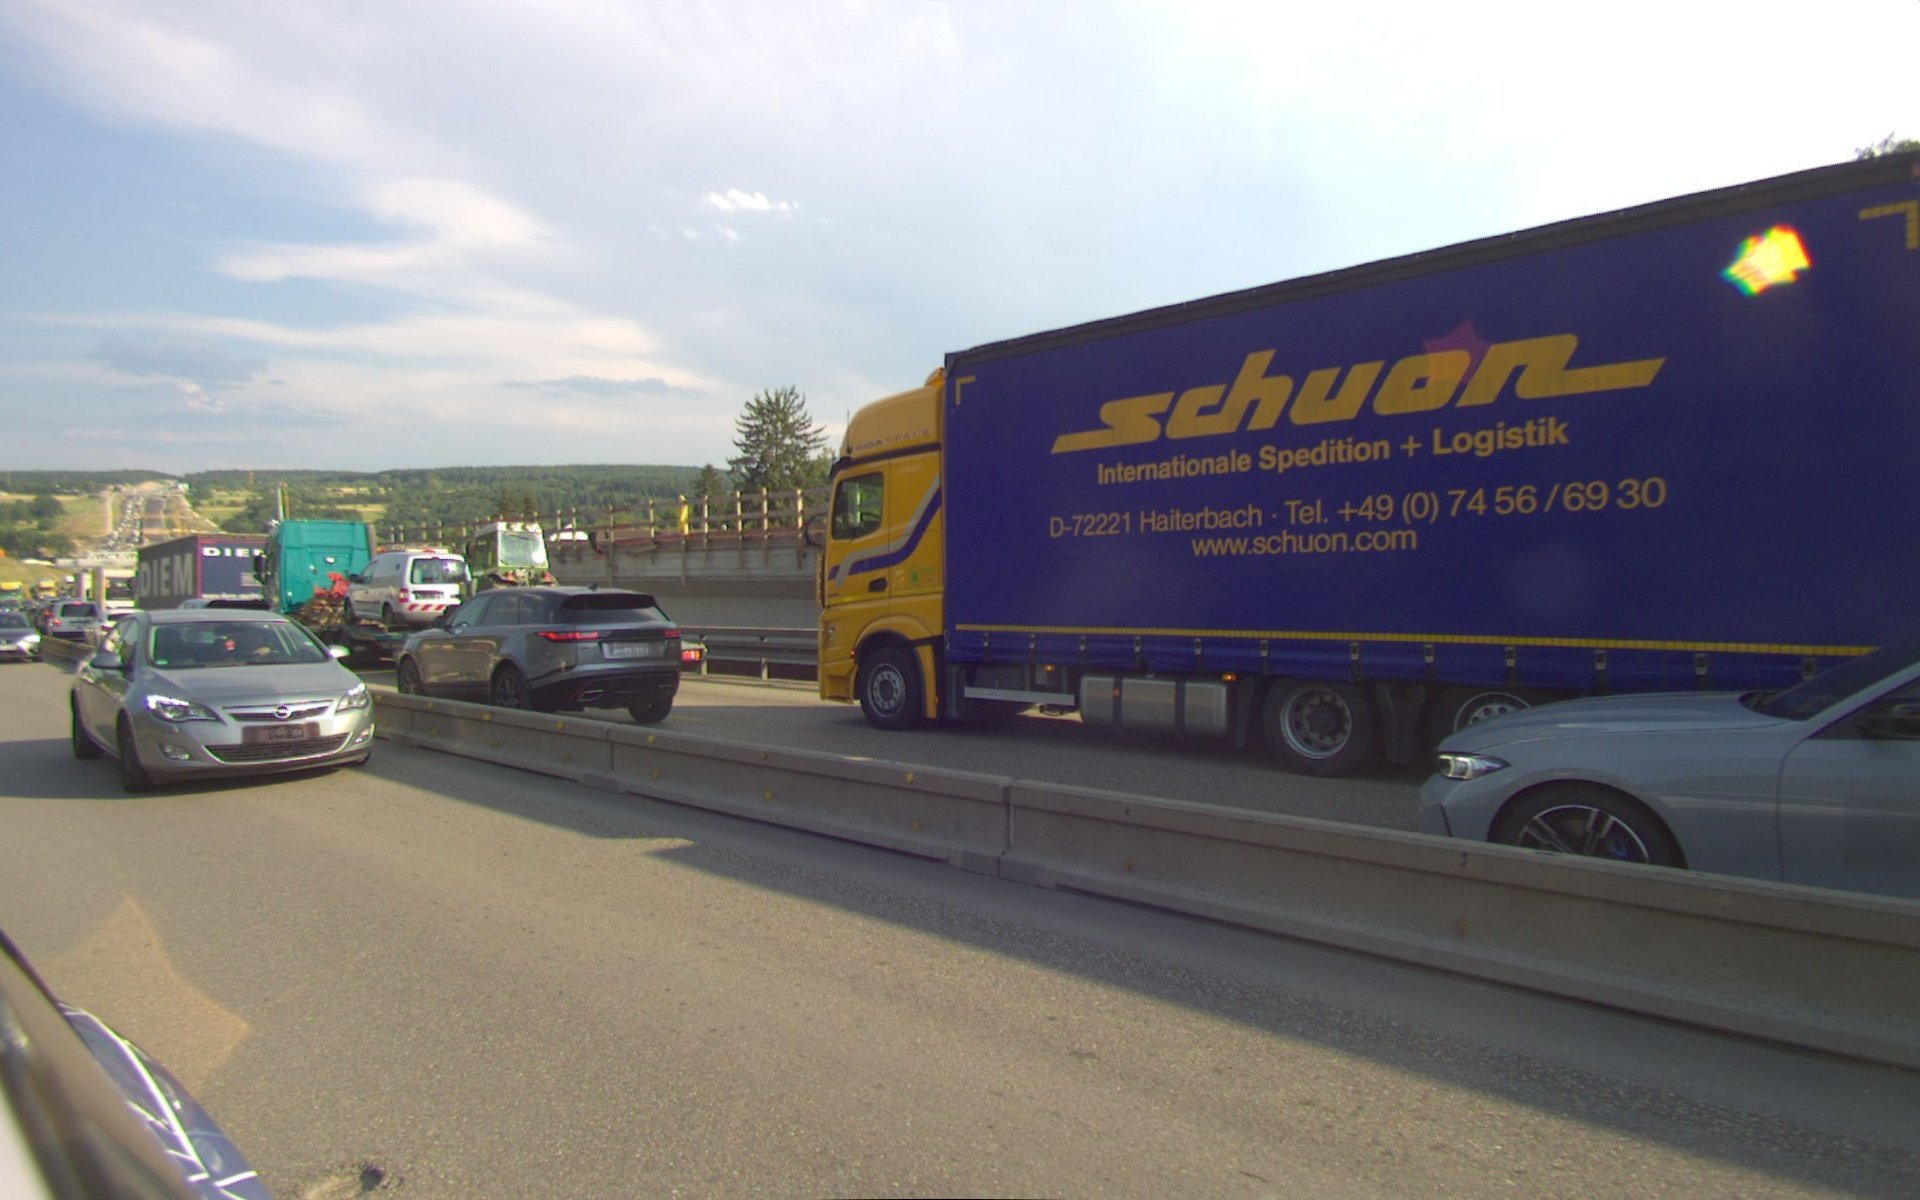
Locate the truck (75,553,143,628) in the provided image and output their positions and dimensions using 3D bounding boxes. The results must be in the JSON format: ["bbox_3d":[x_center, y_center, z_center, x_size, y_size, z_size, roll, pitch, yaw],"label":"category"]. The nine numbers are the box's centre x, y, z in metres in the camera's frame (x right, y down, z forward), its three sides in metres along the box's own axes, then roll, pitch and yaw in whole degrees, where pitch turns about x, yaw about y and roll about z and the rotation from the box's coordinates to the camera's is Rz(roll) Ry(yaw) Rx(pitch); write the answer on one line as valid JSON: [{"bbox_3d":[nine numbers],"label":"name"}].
[{"bbox_3d":[-54.043,-0.597,64.238,5.030,4.548,2.886,0,0,45],"label":"truck"}]

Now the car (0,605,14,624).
[{"bbox_3d":[-82.043,1.272,86.342,1.754,1.467,4.818,-2,2,-44],"label":"car"}]

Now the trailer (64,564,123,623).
[{"bbox_3d":[-68.235,-0.495,79.571,2.743,4.235,13.844,0,0,-44],"label":"trailer"}]

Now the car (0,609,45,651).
[{"bbox_3d":[-47.569,1.466,51.004,4.900,1.978,1.812,1,1,44],"label":"car"}]

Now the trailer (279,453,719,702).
[{"bbox_3d":[-11.009,-0.294,22.063,16.046,3.845,2.719,0,-1,43],"label":"trailer"}]

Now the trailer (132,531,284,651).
[{"bbox_3d":[-30.259,-0.269,40.405,12.494,4.154,2.685,0,-1,43],"label":"trailer"}]

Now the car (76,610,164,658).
[{"bbox_3d":[-29.227,1.146,35.163,4.818,1.533,1.783,0,-1,44],"label":"car"}]

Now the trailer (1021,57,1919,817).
[{"bbox_3d":[7.749,-0.881,5.150,16.744,4.166,2.686,0,0,41],"label":"trailer"}]

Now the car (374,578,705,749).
[{"bbox_3d":[-5.304,0.630,12.449,4.689,1.714,1.907,0,0,41],"label":"car"}]

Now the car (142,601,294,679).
[{"bbox_3d":[-17.681,0.859,24.033,4.847,1.657,1.939,0,0,42],"label":"car"}]

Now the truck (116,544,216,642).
[{"bbox_3d":[-35.978,-0.262,45.811,5.030,4.146,2.719,0,-1,43],"label":"truck"}]

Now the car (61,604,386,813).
[{"bbox_3d":[-6.945,0.793,9.365,4.120,1.498,1.785,0,0,44],"label":"car"}]

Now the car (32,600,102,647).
[{"bbox_3d":[-40.131,1.040,45.450,5.131,1.948,1.803,0,-2,43],"label":"car"}]

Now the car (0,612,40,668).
[{"bbox_3d":[-26.886,1.096,28.054,4.001,1.452,1.798,-1,1,44],"label":"car"}]

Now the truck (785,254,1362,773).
[{"bbox_3d":[0.985,-0.704,11.055,5.792,4.172,2.673,0,0,41],"label":"truck"}]

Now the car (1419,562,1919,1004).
[{"bbox_3d":[4.402,0.631,3.640,4.723,1.509,1.769,0,0,41],"label":"car"}]

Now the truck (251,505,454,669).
[{"bbox_3d":[-16.368,-0.258,27.047,7.111,3.834,2.719,0,-1,43],"label":"truck"}]

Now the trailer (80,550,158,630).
[{"bbox_3d":[-50.368,-0.595,60.546,7.156,4.499,2.878,0,1,45],"label":"trailer"}]

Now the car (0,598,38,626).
[{"bbox_3d":[-57.314,0.718,61.234,5.370,1.617,1.855,0,-2,44],"label":"car"}]
